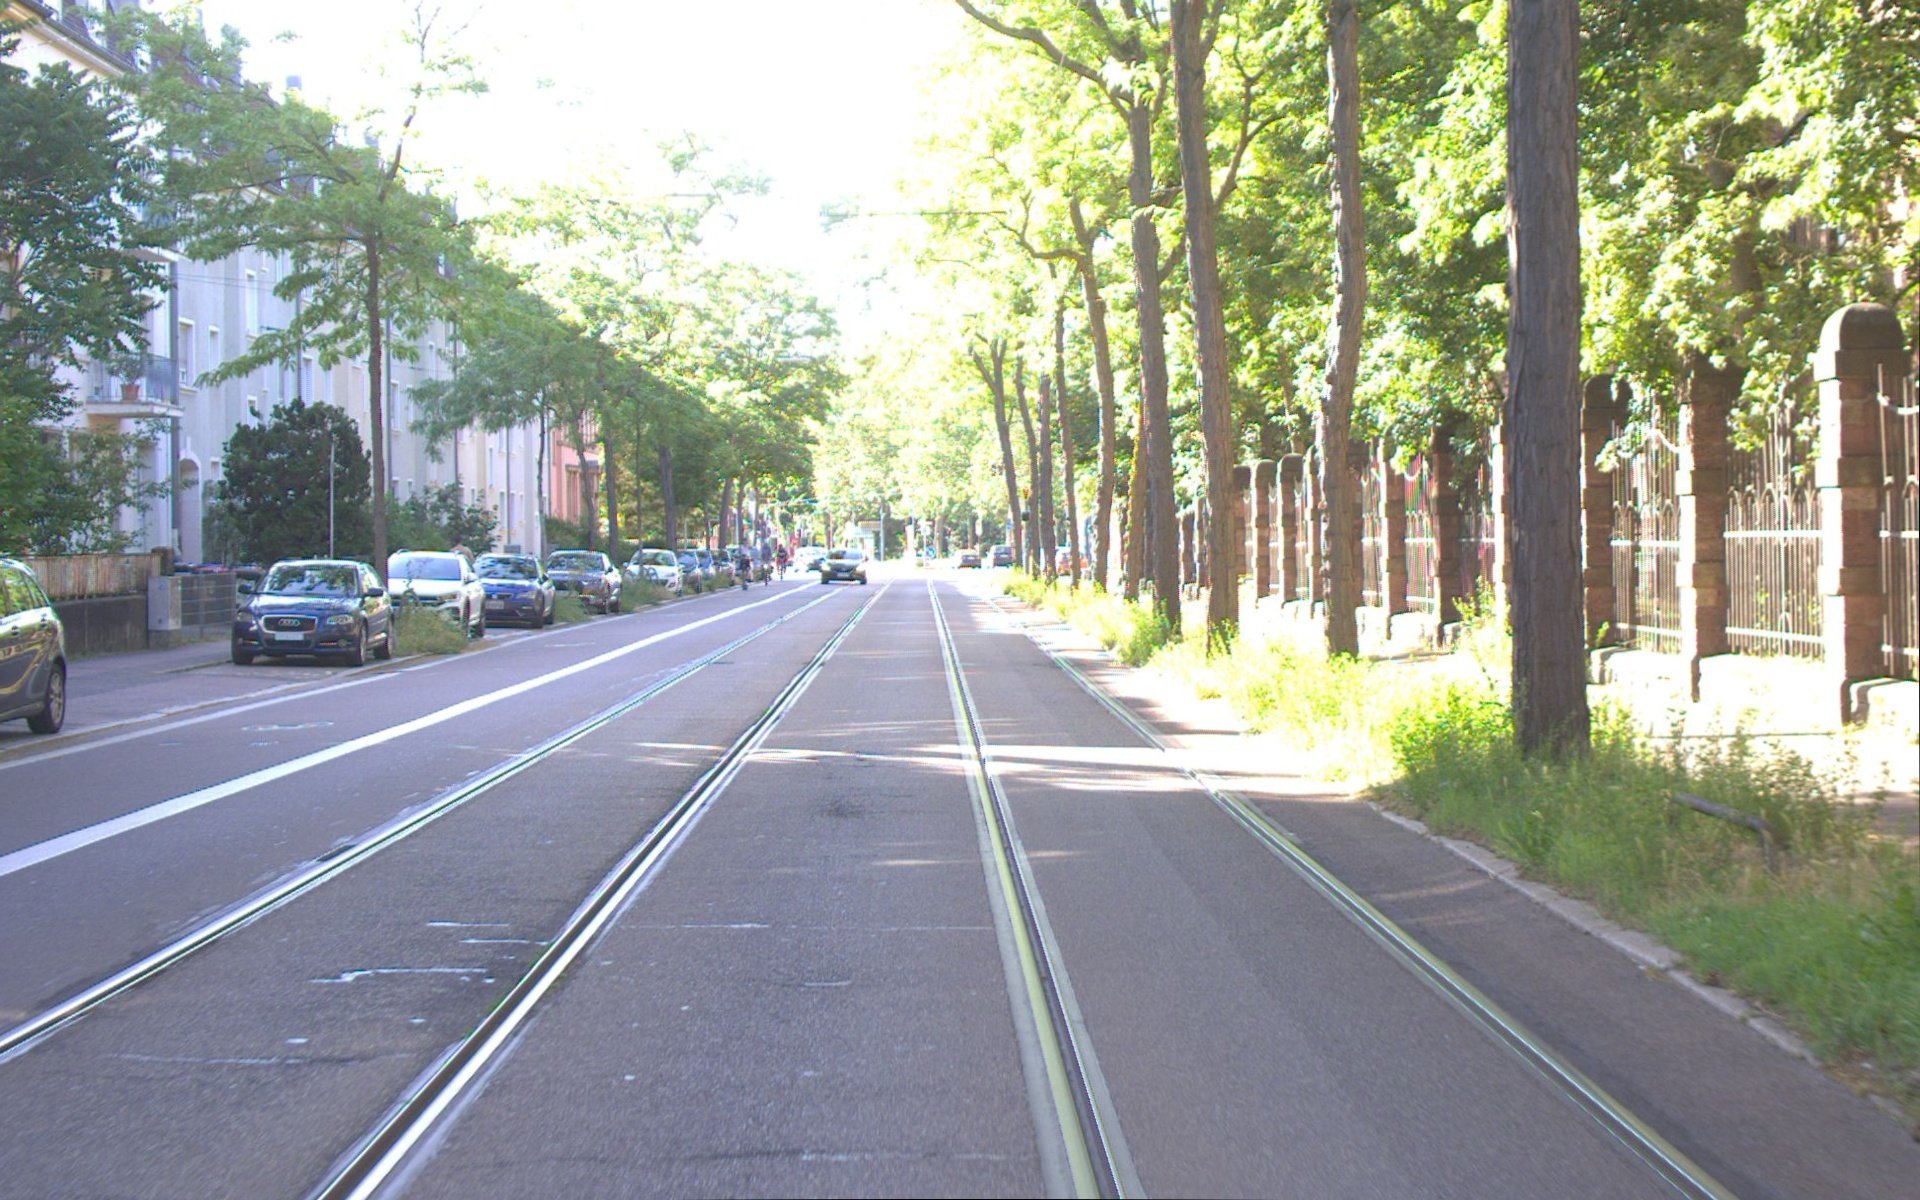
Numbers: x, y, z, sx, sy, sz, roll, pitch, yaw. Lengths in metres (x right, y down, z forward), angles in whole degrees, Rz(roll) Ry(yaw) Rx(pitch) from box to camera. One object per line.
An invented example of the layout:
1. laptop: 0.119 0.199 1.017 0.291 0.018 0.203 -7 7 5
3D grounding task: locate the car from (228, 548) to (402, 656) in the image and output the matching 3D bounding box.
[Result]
1. car: -8.919 -0.007 47.827 1.705 1.401 4.334 1 1 -2

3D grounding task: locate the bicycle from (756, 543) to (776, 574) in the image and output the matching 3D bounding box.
1. bicycle: -7.846 -1.684 139.144 0.626 1.173 1.913 -3 1 -1

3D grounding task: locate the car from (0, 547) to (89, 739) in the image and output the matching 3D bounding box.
1. car: -8.706 0.338 28.665 1.776 1.536 4.486 1 1 -1

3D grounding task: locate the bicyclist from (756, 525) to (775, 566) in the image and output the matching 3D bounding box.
1. bicyclist: -7.865 -2.202 139.036 0.626 1.633 0.940 -3 1 -1

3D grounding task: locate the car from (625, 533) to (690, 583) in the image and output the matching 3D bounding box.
1. car: -9.560 -1.338 108.877 1.702 1.480 4.079 2 1 -1

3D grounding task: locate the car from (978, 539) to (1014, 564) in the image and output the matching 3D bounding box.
1. car: 2.360 -3.209 227.961 1.942 1.605 4.001 0 1 -6

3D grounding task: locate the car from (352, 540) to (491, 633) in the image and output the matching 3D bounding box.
1. car: -9.208 -0.265 59.030 1.817 1.506 4.372 1 1 -2

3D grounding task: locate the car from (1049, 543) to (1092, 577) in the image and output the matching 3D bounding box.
1. car: 5.472 -1.994 170.908 1.839 1.649 3.580 0 1 -3

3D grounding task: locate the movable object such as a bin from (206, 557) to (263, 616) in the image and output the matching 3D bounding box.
1. movable object such as a bin: -13.295 -0.256 63.038 0.844 1.042 0.732 2 1 2

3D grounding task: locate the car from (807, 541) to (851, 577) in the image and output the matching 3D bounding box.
1. car: -5.247 -1.664 137.900 1.757 1.434 4.524 0 1 -2

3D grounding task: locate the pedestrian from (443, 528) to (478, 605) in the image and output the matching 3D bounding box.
1. pedestrian: -11.786 -0.797 81.161 0.691 1.795 0.813 -1 1 -1

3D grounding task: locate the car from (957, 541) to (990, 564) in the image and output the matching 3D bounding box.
1. car: 0.946 -3.366 242.076 1.942 1.605 4.001 0 1 -6

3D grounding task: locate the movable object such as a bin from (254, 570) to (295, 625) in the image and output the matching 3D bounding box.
1. movable object such as a bin: -12.577 -0.048 63.115 0.559 0.972 0.732 2 1 2

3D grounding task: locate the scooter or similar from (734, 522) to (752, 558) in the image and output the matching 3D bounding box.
1. scooter or similar: -7.902 -2.182 125.322 0.520 1.293 1.377 -4 1 -1

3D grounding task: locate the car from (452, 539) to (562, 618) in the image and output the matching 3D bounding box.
1. car: -9.100 -0.456 69.399 1.757 1.506 4.439 1 1 -2

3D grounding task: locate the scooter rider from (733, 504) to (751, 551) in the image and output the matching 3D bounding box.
1. scooter rider: -7.942 -2.647 125.292 0.496 1.694 0.787 -4 1 -1

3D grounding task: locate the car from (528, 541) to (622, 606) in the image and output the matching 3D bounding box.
1. car: -9.222 -0.661 82.579 1.817 1.480 4.206 1 1 -1

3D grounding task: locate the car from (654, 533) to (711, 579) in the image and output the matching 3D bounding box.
1. car: -9.433 -1.506 116.973 1.687 1.480 3.760 2 1 -2

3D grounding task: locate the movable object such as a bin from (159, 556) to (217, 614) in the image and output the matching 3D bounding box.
1. movable object such as a bin: -14.160 -0.277 63.074 0.844 1.042 0.732 2 1 2
